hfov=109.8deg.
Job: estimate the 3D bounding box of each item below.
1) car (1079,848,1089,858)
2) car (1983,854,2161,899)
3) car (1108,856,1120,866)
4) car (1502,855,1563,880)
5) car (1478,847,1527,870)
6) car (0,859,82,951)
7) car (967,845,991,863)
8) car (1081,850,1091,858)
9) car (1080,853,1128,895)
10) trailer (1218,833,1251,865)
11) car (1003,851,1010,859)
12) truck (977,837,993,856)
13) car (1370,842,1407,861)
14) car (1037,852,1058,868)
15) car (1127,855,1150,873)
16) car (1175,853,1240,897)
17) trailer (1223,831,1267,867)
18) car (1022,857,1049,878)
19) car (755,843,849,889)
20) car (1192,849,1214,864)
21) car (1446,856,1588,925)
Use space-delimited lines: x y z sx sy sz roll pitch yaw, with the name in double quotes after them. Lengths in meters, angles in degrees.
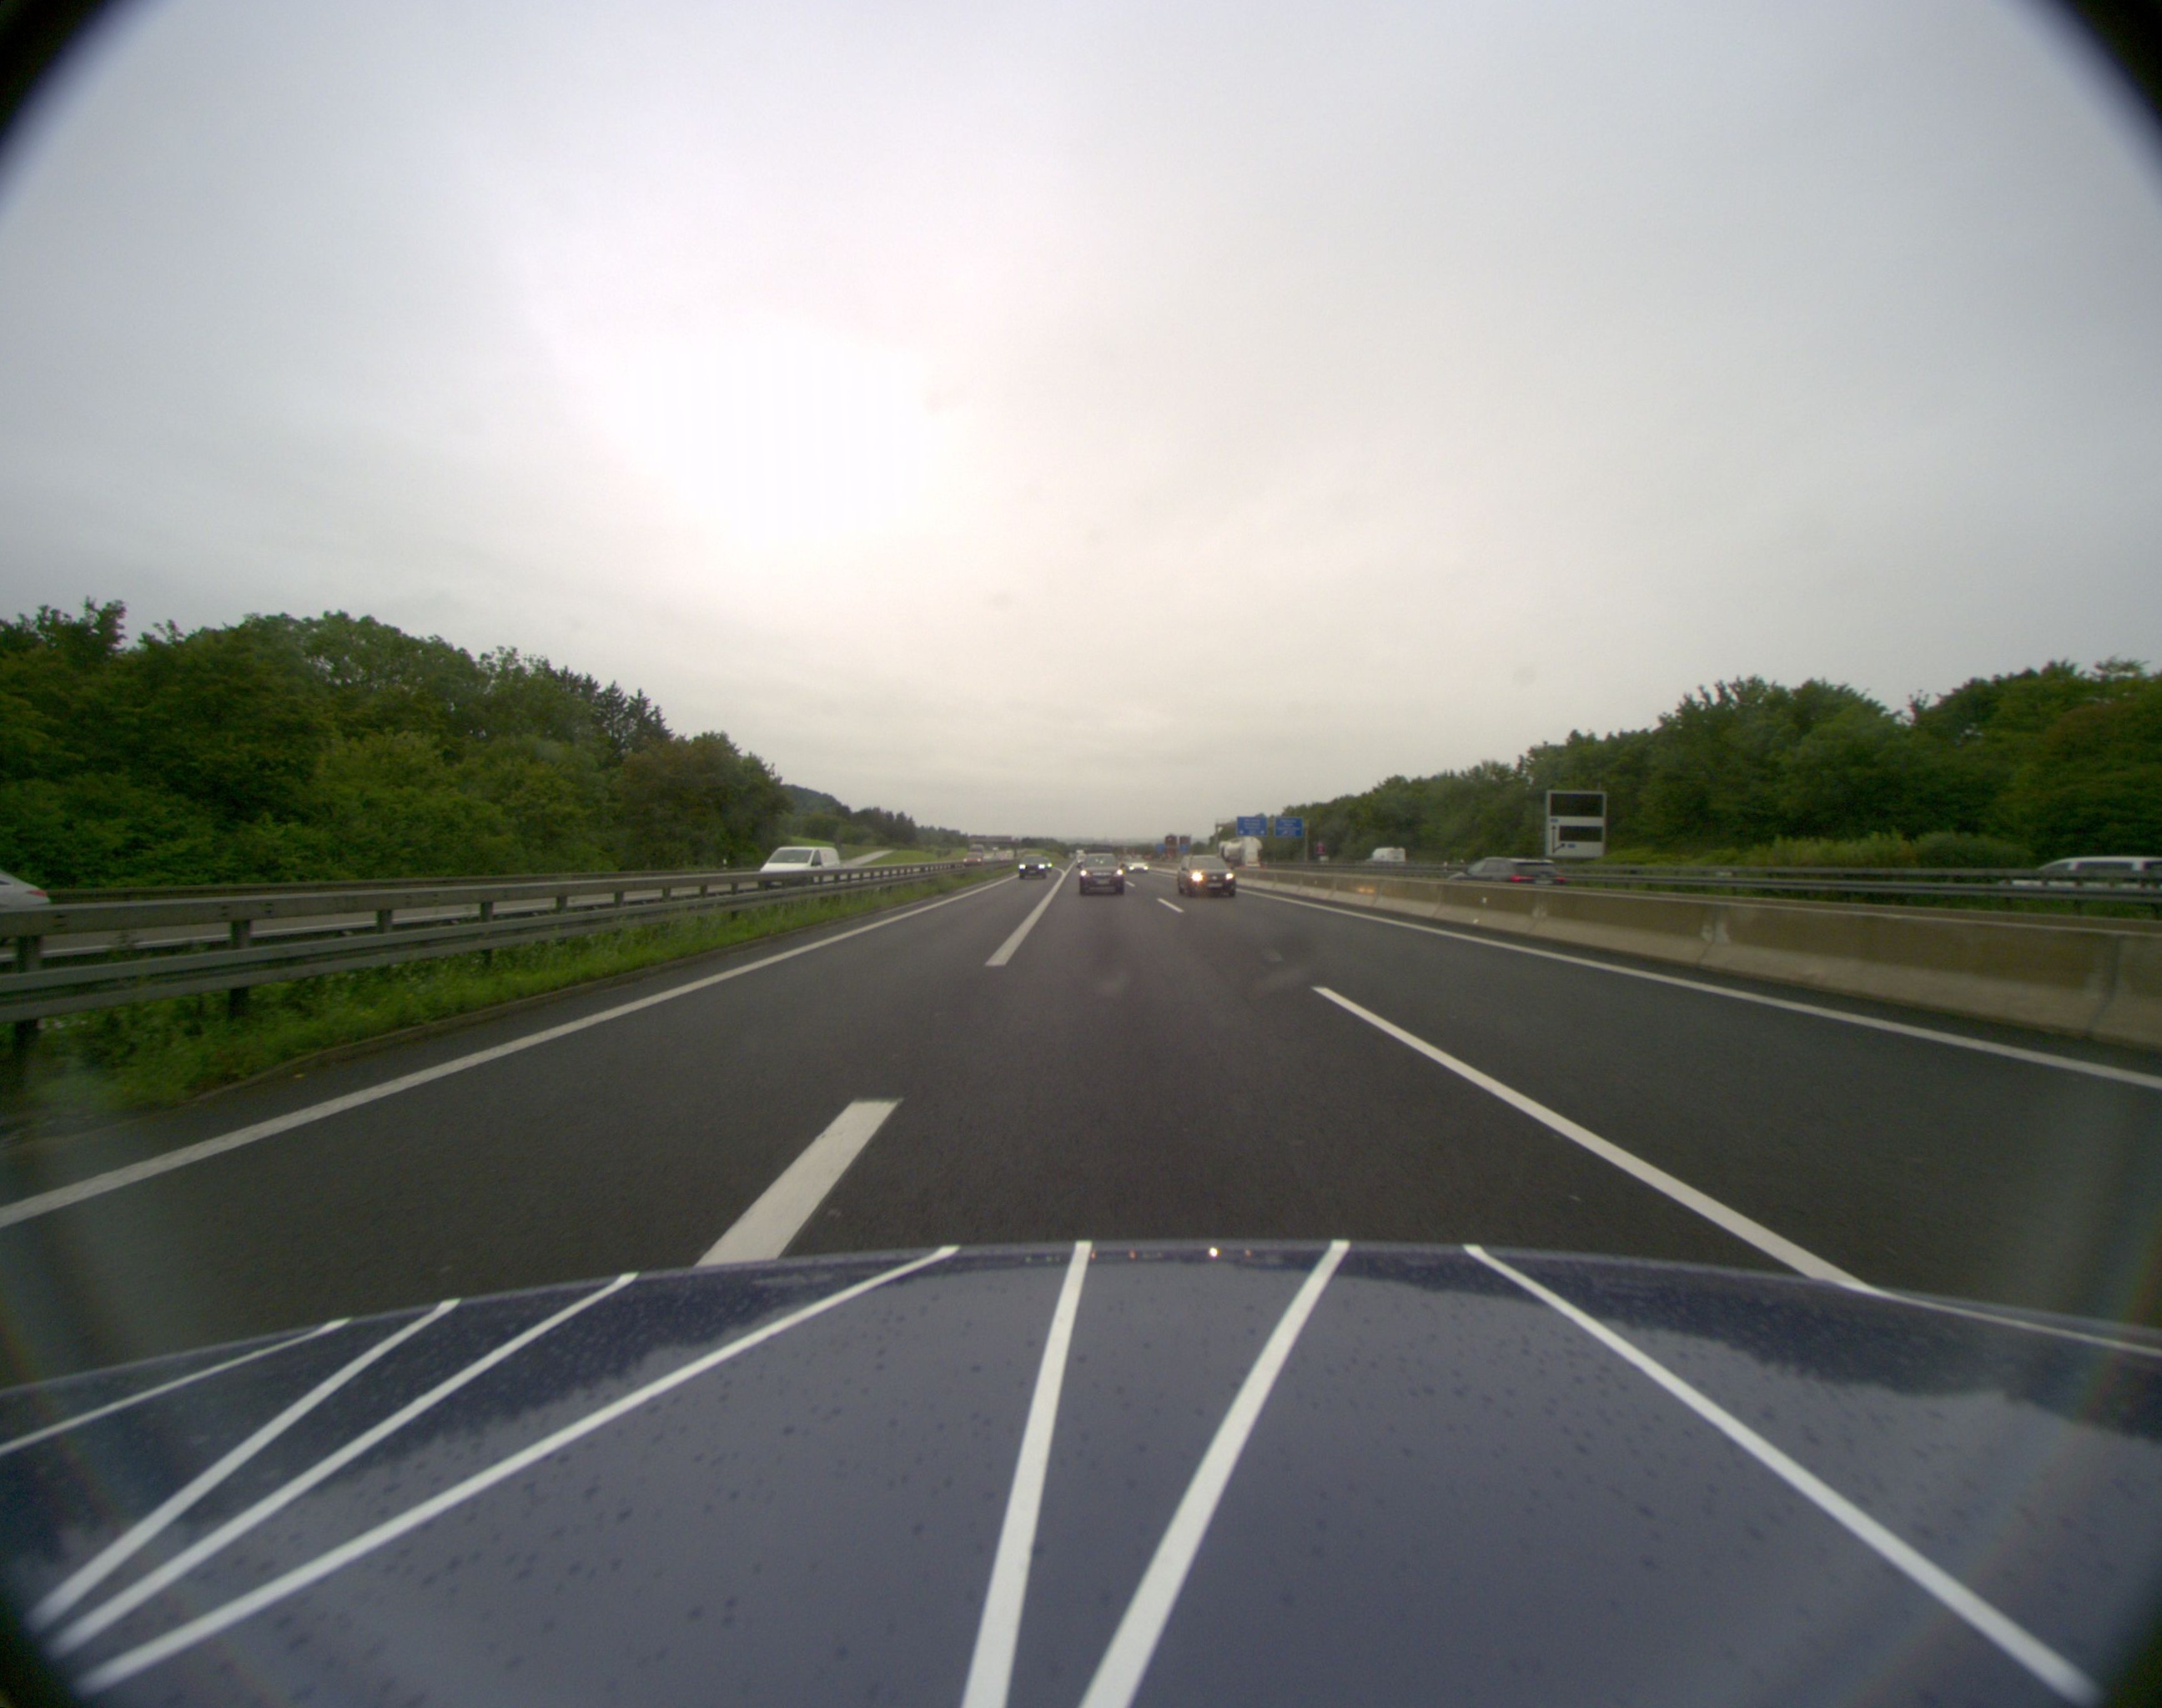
0.631 -0.170 158.775 2.016 1.994 4.566 -1 1 -1 "car"
35.669 0.741 27.332 1.708 1.434 3.999 -1 1 0 "car"
5.444 1.193 125.816 1.726 1.481 4.566 -1 1 -1 "car"
29.749 0.866 50.189 1.708 1.499 3.999 -1 1 0 "car"
35.009 0.350 63.225 1.708 1.759 3.999 -1 1 -2 "car"
-18.259 0.849 10.764 1.903 1.446 4.710 -1 1 1 "car"
-12.113 -0.027 90.513 2.130 2.002 5.076 -1 1 0 "car"
0.963 -0.037 152.852 1.919 1.481 4.566 -1 1 -1 "car"
0.884 0.779 31.369 1.813 1.571 3.834 -1 1 0 "car"
18.320 -0.644 90.989 2.643 3.694 6.490 -1 1 0 "trailer"
-21.696 0.263 221.250 1.752 2.002 4.496 -1 1 -5 "car"
-20.838 -1.658 165.019 2.799 3.878 10.024 -1 1 -3 "truck"
32.567 -0.273 80.650 1.878 2.002 5.298 -1 1 0 "car"
-3.445 0.601 78.205 1.885 1.519 4.000 -1 1 1 "car"
5.289 0.890 70.407 1.726 1.481 4.566 -1 1 0 "car"
4.708 0.743 28.916 1.726 1.481 4.566 -1 1 0 "car"
18.275 -0.587 85.334 2.643 3.715 10.810 -1 1 1 "trailer"
-3.291 0.948 55.778 1.867 1.349 4.566 -1 1 -2 "car"
-11.050 0.410 30.446 1.913 1.684 4.718 -1 1 1 "car"
13.617 0.262 84.859 1.813 1.571 4.355 -1 1 1 "car"
13.517 1.054 23.949 1.900 1.865 4.542 -1 1 0 "car"
